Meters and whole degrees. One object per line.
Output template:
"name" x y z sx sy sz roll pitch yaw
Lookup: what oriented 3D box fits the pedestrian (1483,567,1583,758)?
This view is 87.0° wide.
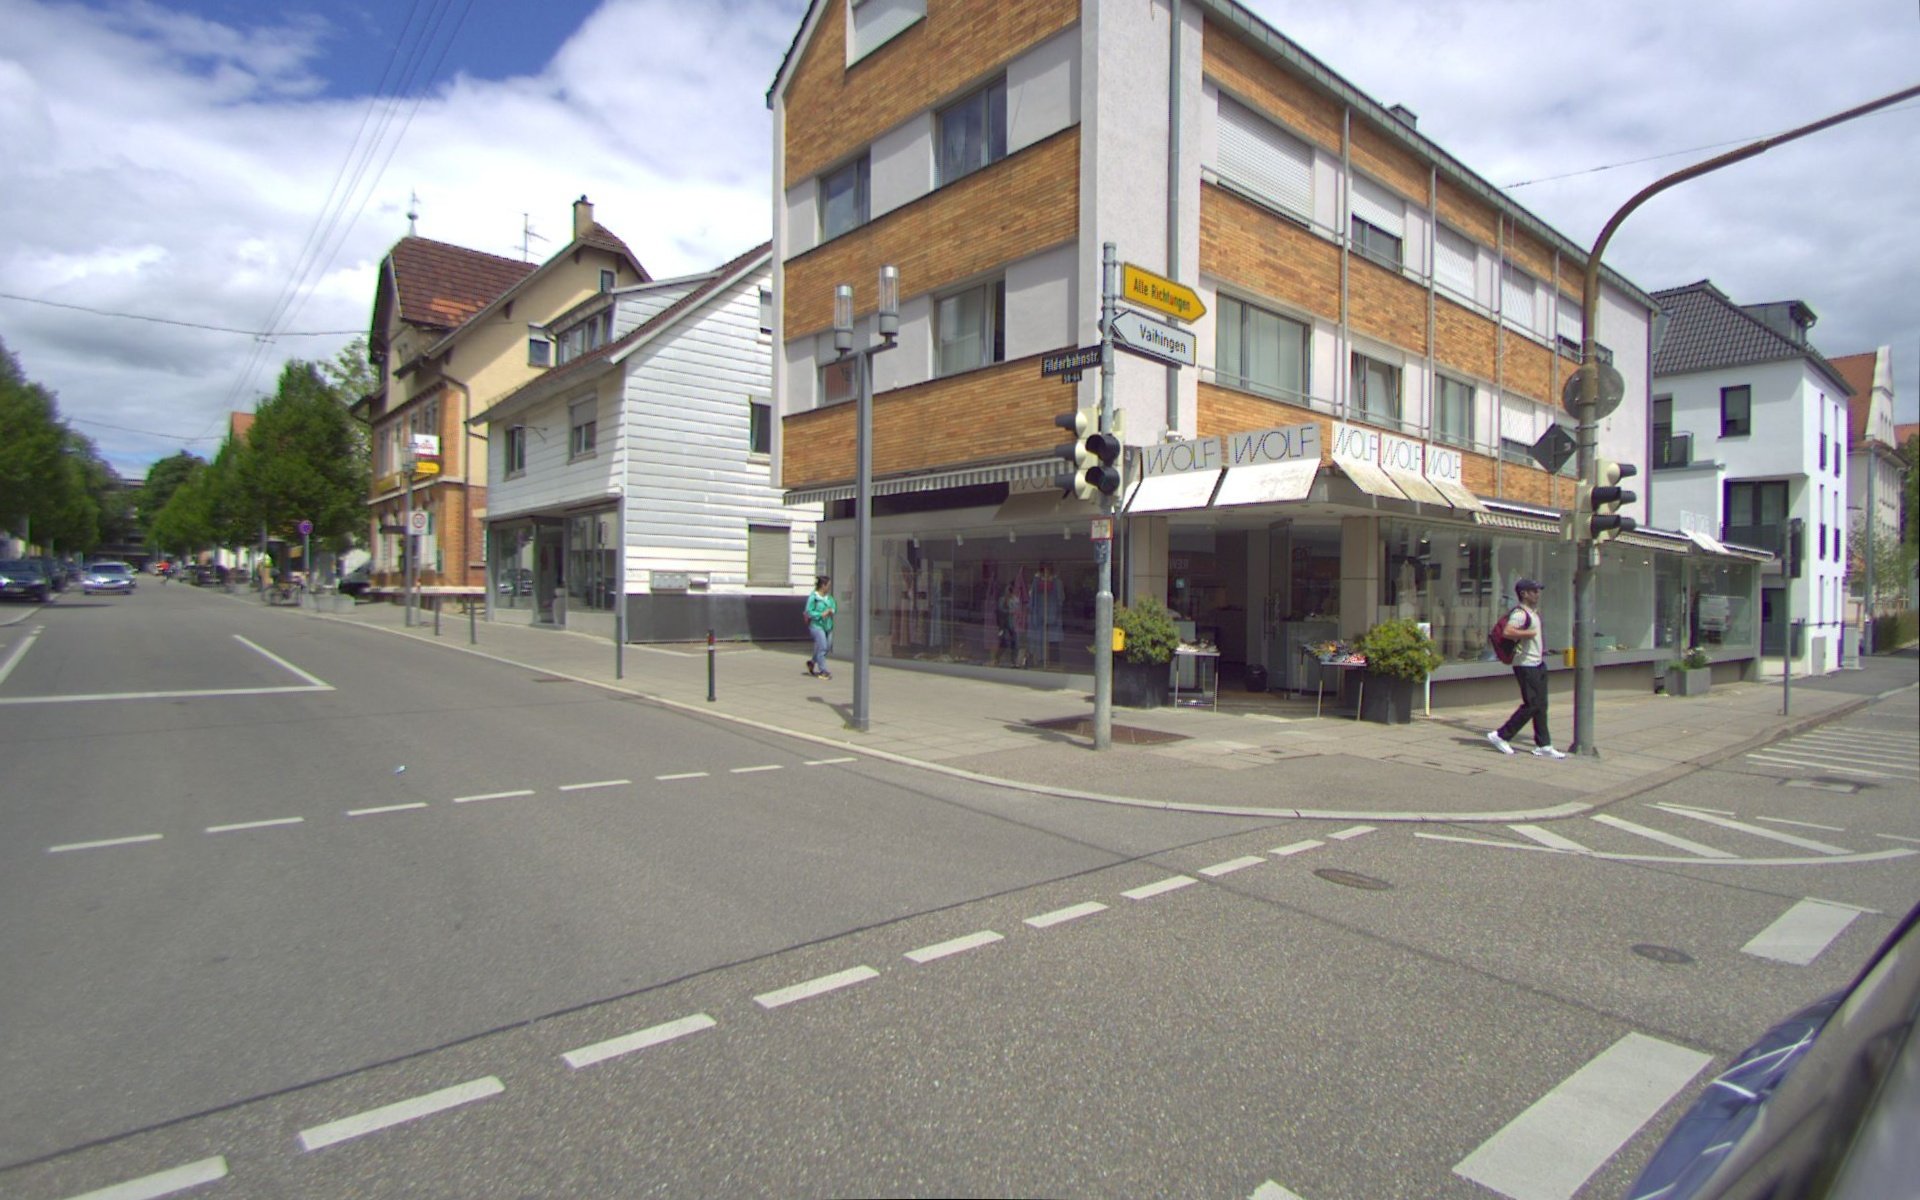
"pedestrian" 5.875 0.610 10.421 0.605 1.837 0.772 5 2 17

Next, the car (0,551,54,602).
"car" -33.143 -0.785 35.544 1.795 1.672 3.989 -1 0 -44

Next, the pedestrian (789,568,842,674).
"pedestrian" -2.205 0.315 15.434 0.584 1.579 0.522 -1 0 33

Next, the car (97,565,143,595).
"car" -49.474 -1.172 59.563 1.795 1.672 3.989 -1 0 -44

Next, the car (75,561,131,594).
"car" -39.331 -0.990 46.431 1.678 1.416 3.989 -1 0 -45

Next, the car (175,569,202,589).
"car" -64.105 -1.719 84.067 1.590 1.622 3.675 -1 0 -40

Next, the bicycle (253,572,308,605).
"bicycle" -26.265 -0.450 39.141 1.688 1.235 0.561 -1 0 -41

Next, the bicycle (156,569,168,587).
"bicycle" -54.140 -1.494 68.633 0.552 1.235 1.715 -1 0 -40

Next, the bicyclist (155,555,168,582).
"bicyclist" -54.080 -2.109 68.545 0.681 1.783 0.944 -1 0 -40

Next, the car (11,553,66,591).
"car" -43.470 -1.268 47.698 1.795 1.672 3.989 -1 0 -44

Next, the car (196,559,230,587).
"car" -50.776 -1.793 68.733 1.650 1.820 3.811 -1 0 -40
